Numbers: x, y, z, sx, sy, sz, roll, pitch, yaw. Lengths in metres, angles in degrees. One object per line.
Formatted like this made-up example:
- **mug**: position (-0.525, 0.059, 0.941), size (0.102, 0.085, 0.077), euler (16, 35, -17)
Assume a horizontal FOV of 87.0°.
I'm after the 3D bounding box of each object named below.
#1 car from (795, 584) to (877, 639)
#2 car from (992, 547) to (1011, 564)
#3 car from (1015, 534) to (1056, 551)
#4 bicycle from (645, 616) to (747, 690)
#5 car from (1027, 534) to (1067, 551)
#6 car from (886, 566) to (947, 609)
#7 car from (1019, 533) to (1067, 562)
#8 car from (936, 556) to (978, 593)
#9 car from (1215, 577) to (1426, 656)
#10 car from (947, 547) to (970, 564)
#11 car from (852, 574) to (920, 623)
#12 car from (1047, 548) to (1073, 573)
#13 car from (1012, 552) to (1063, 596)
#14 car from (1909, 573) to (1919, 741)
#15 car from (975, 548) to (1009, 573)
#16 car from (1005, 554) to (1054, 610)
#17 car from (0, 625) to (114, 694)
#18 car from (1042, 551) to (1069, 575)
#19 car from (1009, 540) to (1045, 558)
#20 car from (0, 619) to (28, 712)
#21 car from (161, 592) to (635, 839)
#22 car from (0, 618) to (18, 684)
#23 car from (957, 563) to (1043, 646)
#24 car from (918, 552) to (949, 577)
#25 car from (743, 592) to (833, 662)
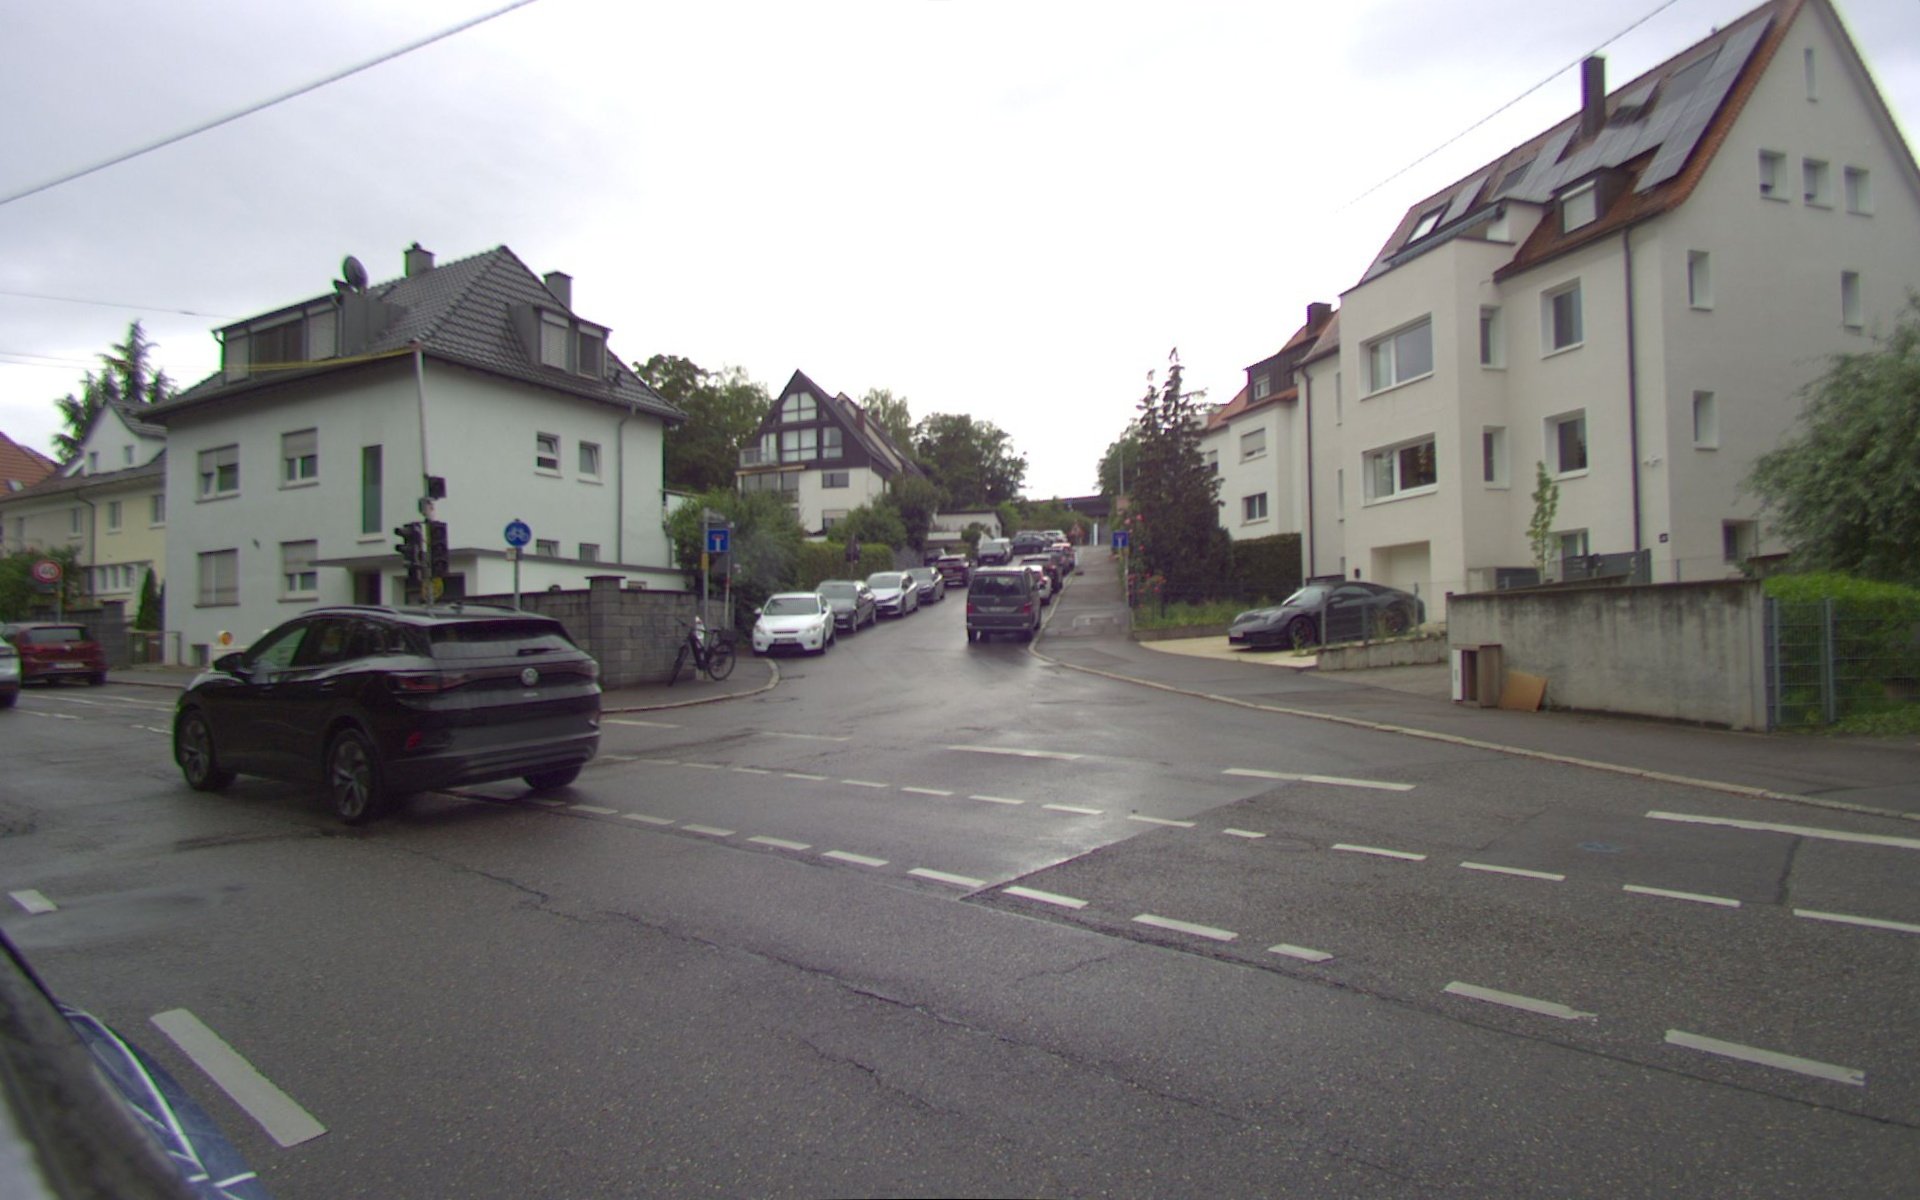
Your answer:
- **car**: position (-3.820, 0.319, 31.807), size (1.702, 1.397, 3.900), euler (-1, 4, 6)
- **car**: position (3.067, -3.322, 74.700), size (1.292, 1.206, 2.980), euler (-1, 3, 5)
- **car**: position (7.401, -5.583, 98.778), size (3.922, 1.528, 1.748), euler (-1, 0, 6)
- **bicycle**: position (-4.780, 0.930, 18.446), size (0.508, 1.249, 1.984), euler (1, 0, 32)
- **car**: position (8.949, -5.893, 103.903), size (3.782, 1.529, 1.664), euler (-1, -1, 15)
- **car**: position (-1.799, -0.552, 42.948), size (1.903, 1.448, 4.100), euler (-1, 5, 7)
- **car**: position (7.212, -4.557, 87.632), size (3.954, 2.028, 1.995), euler (-5, -1, 8)
- **car**: position (-0.106, -1.361, 52.454), size (1.623, 1.637, 3.992), euler (-1, 5, 8)
- **car**: position (7.713, 0.334, 21.761), size (3.942, 1.290, 1.613), euler (-5, 1, -13)
- **car**: position (-0.073, -3.255, 74.010), size (1.559, 1.220, 3.650), euler (-1, 3, 2)
- **car**: position (-2.651, -0.084, 37.076), size (1.738, 1.481, 3.940), euler (-1, 4, 6)
- **car**: position (6.246, -2.444, 62.837), size (1.488, 1.373, 3.465), euler (-1, 0, 8)
- **car**: position (3.529, -1.191, 45.365), size (1.823, 1.699, 4.039), euler (-1, 5, 11)
- **car**: position (10.610, 0.422, 8.537), size (3.934, 1.497, 1.780), euler (-2, -1, -12)
- **car**: position (2.204, -2.667, 68.875), size (1.770, 1.531, 4.016), euler (-1, 0, 9)
- **car**: position (2.827, -0.753, 40.313), size (1.686, 1.843, 4.194), euler (-1, 6, 7)
- **car**: position (-21.462, 1.331, 23.372), size (3.833, 1.443, 1.768), euler (-1, -1, 30)
- **car**: position (5.511, -2.140, 58.100), size (1.274, 1.325, 2.984), euler (-1, 3, 10)
- **car**: position (5.563, -4.193, 83.643), size (2.914, 1.328, 1.282), euler (-1, 0, 4)
- **car**: position (-18.186, 1.086, 17.495), size (4.804, 1.539, 1.839), euler (-1, -2, 32)
- **car**: position (-4.898, 0.813, 8.649), size (4.153, 1.634, 1.851), euler (-2, -1, 34)
- **car**: position (-26.147, 1.314, 25.764), size (4.131, 1.653, 1.782), euler (-1, -1, 25)
- **car**: position (1.249, 0.050, 29.314), size (1.978, 2.028, 4.482), euler (-1, 4, 9)
- **car**: position (-1.818, -2.416, 69.782), size (1.793, 1.566, 4.009), euler (-1, 0, 3)
- **car**: position (-4.347, 0.624, 26.145), size (1.827, 1.473, 4.124), euler (-1, 3, -3)
